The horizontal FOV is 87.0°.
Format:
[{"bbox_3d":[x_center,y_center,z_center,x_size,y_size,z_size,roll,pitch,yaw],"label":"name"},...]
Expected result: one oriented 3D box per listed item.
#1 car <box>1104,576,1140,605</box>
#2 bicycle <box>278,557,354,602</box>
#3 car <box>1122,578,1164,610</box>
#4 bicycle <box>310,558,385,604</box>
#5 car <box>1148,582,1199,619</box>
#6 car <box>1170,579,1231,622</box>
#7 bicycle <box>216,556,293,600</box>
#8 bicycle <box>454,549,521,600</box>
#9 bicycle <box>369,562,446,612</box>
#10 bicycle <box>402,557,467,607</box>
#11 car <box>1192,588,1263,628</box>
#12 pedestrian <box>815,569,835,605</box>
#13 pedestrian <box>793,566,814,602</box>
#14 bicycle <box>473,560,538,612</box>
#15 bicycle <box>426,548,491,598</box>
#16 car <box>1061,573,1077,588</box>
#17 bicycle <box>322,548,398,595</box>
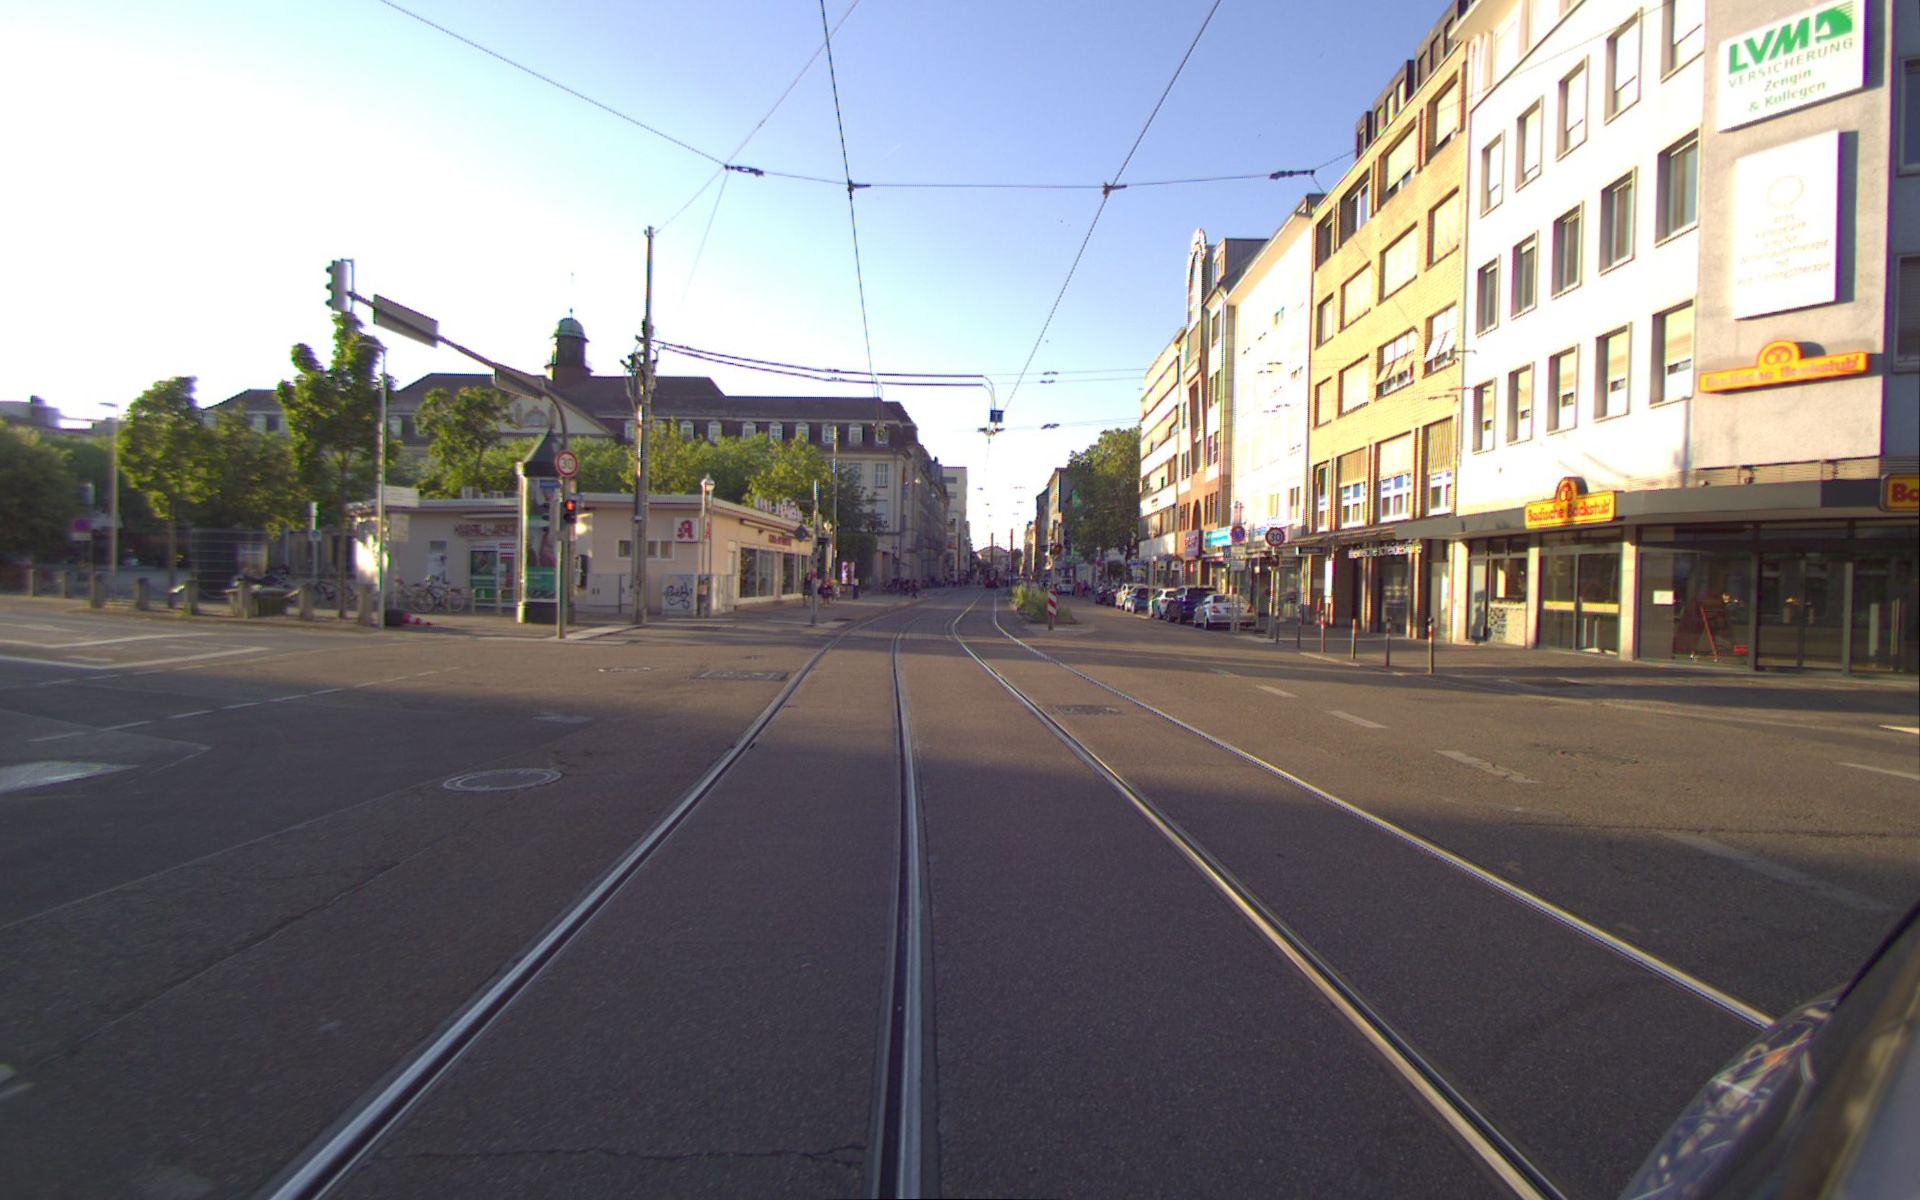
[{"bbox_3d":[9.893,-0.611,61.899,1.816,1.655,3.996,1,2,4],"label":"car"},{"bbox_3d":[-22.435,-0.719,35.315,0.674,1.541,2.209,2,2,27],"label":"bicycle"},{"bbox_3d":[10.171,-0.382,56.475,1.816,1.655,3.996,1,2,4],"label":"car"},{"bbox_3d":[-21.293,-0.682,35.219,0.674,1.541,2.209,2,2,27],"label":"bicycle"},{"bbox_3d":[10.257,-0.022,48.873,1.816,1.655,3.996,1,2,4],"label":"car"},{"bbox_3d":[9.950,-0.022,42.122,1.816,1.655,3.996,1,2,4],"label":"car"},{"bbox_3d":[-25.361,-0.798,36.411,0.675,1.541,2.206,2,2,31],"label":"bicycle"},{"bbox_3d":[-14.890,-0.804,31.964,0.476,1.541,1.969,2,2,32],"label":"bicycle"},{"bbox_3d":[-18.013,-0.432,33.054,0.674,1.541,2.209,2,2,27],"label":"bicycle"},{"bbox_3d":[-16.997,-0.584,32.775,0.474,1.541,1.974,2,2,27],"label":"bicycle"},{"bbox_3d":[9.873,0.258,37.627,1.816,1.310,3.996,1,2,4],"label":"car"},{"bbox_3d":[-6.298,-0.600,47.164,0.791,1.632,0.994,0,2,2],"label":"pedestrian"},{"bbox_3d":[-7.260,-0.752,46.965,0.791,1.632,0.994,0,2,2],"label":"pedestrian"},{"bbox_3d":[-13.985,-0.445,31.162,0.474,1.541,1.974,2,2,26],"label":"bicycle"},{"bbox_3d":[-16.035,-0.861,32.387,0.474,1.541,1.974,2,2,27],"label":"bicycle"},{"bbox_3d":[13.030,-2.367,121.145,1.816,1.655,3.996,1,2,4],"label":"car"},{"bbox_3d":[-20.300,-0.957,34.301,0.674,1.541,2.209,2,2,27],"label":"bicycle"}]
